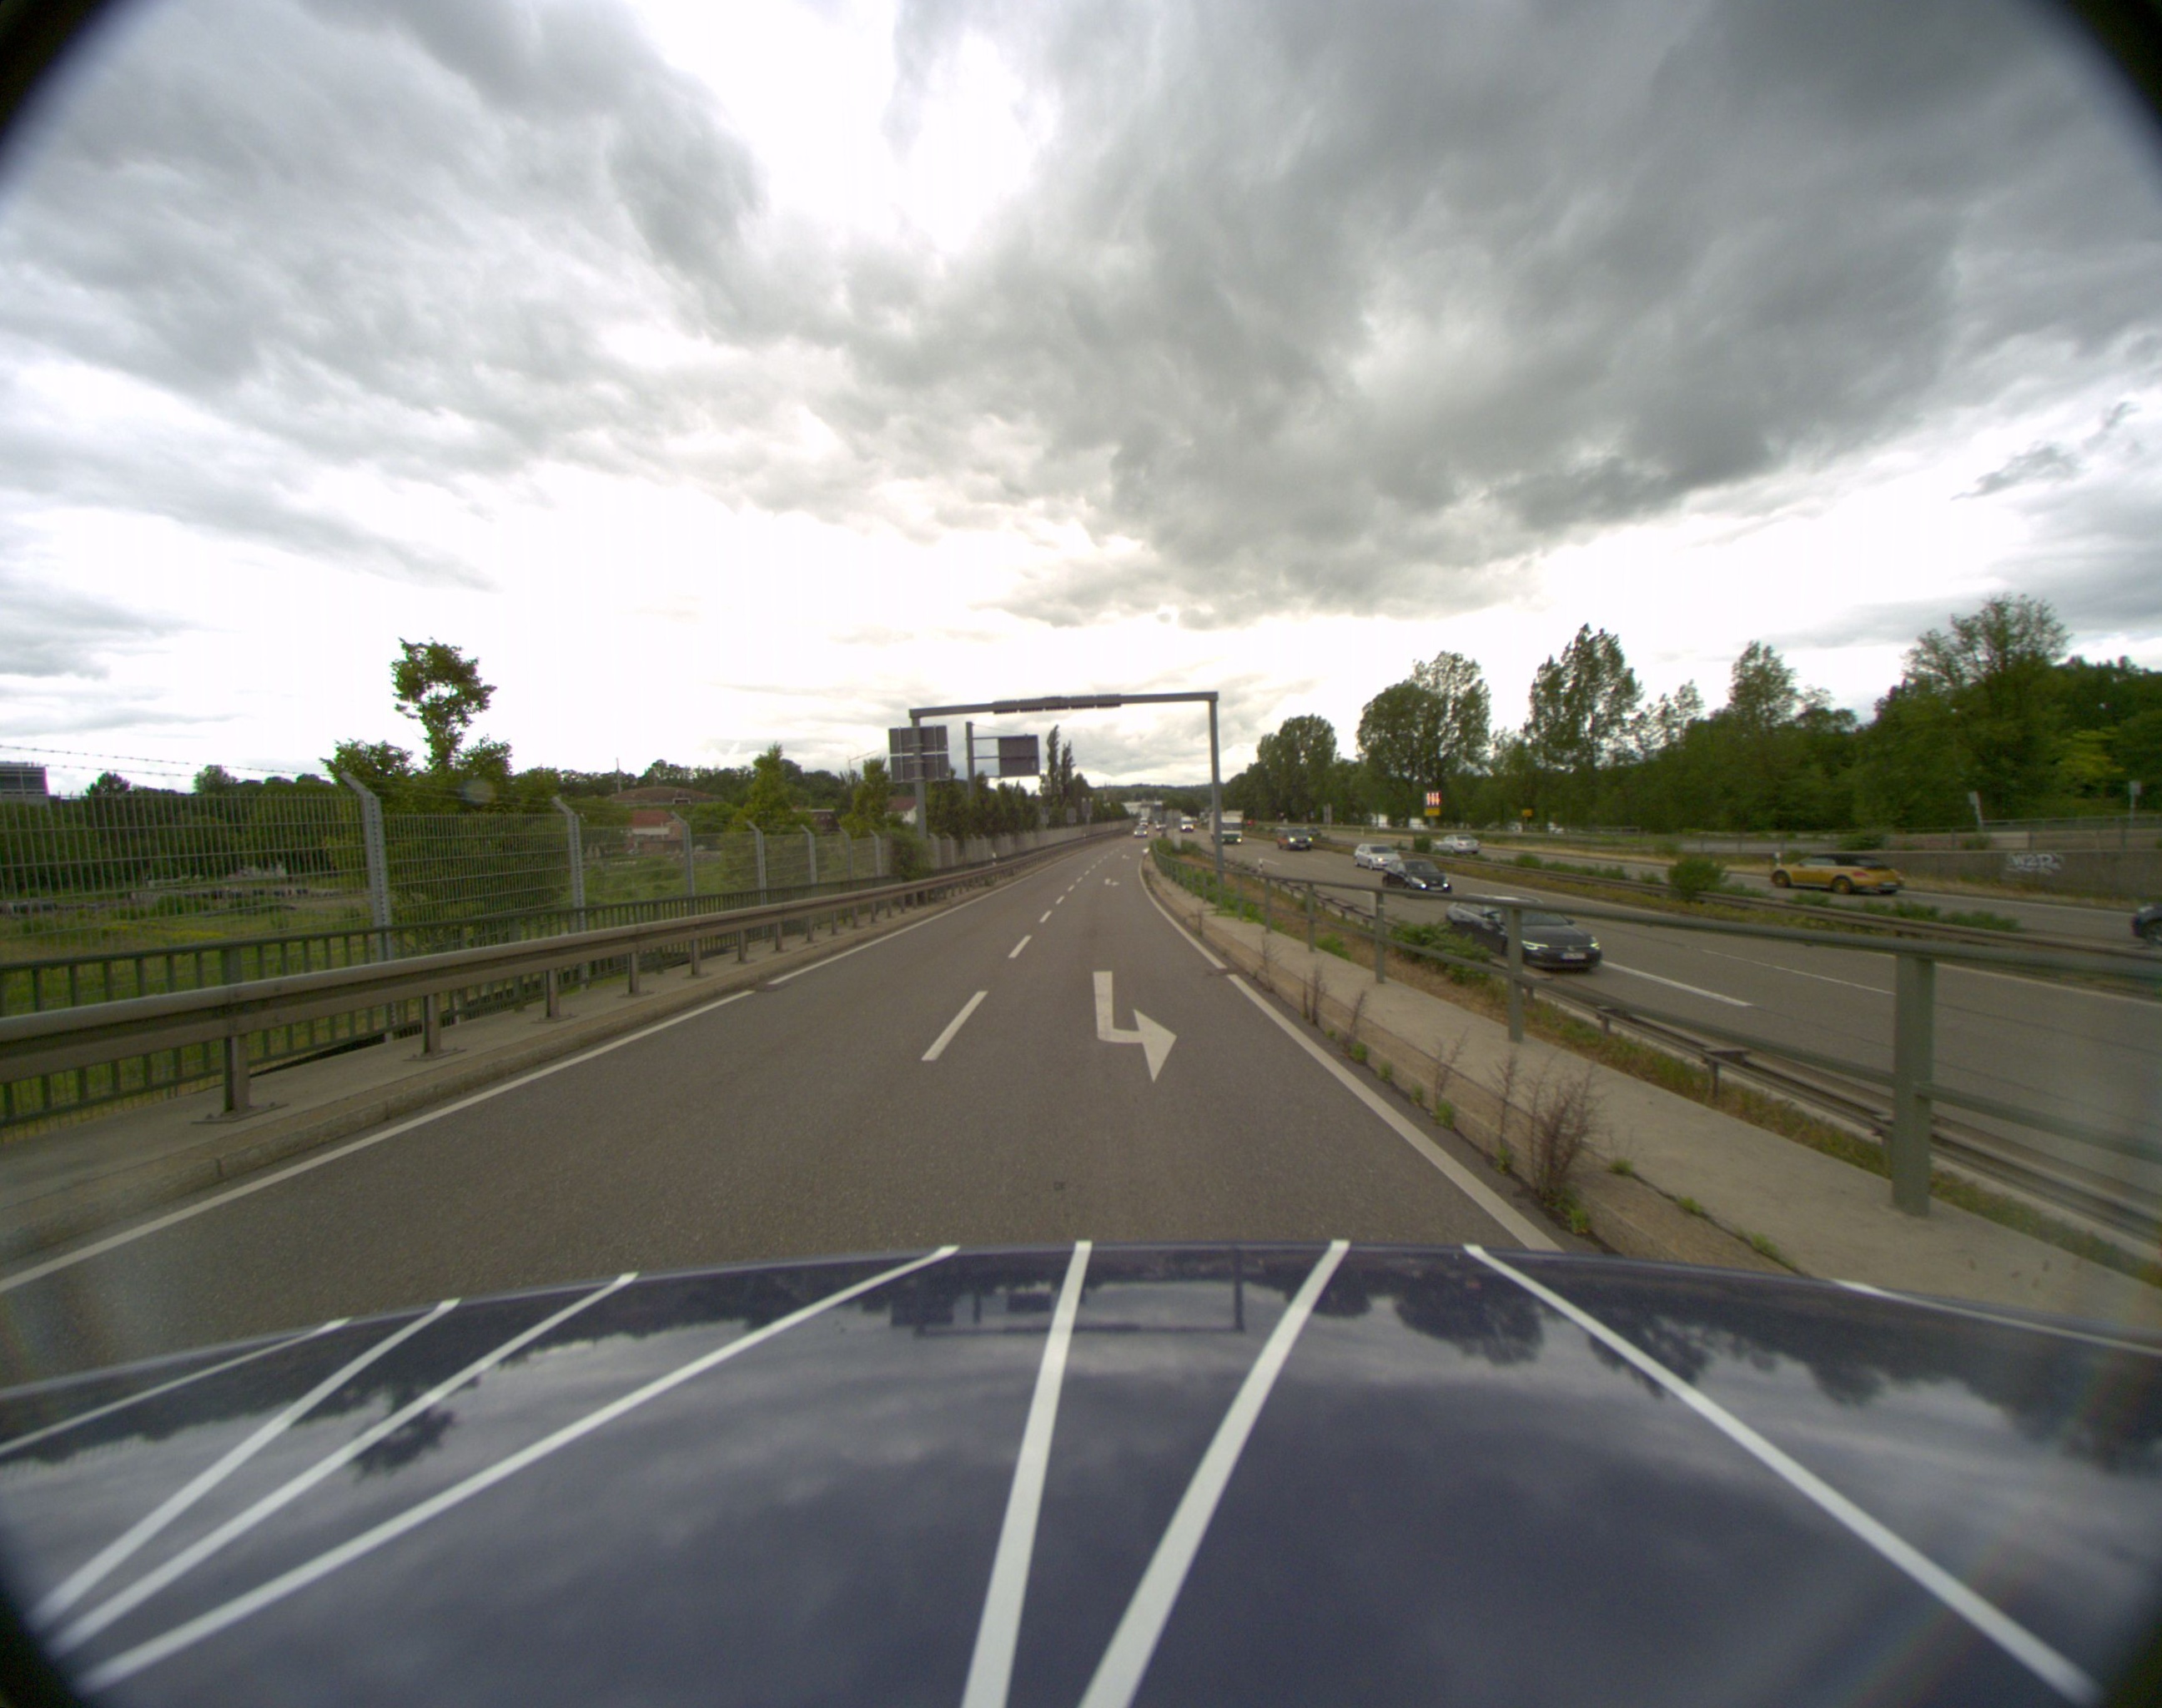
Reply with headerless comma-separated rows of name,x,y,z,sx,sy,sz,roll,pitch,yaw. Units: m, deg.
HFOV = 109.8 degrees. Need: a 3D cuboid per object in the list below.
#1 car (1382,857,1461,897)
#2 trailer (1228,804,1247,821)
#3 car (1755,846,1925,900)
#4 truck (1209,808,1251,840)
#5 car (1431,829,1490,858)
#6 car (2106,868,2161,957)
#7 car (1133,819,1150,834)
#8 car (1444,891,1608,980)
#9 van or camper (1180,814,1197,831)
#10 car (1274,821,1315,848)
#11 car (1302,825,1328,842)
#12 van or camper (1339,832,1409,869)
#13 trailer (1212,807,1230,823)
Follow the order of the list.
car,14.126,0.924,31.729,1.728,1.320,3.646,-1,3,2
trailer,39.753,-10.576,193.602,2.796,3.928,13.508,-3,3,3
car,29.832,0.679,30.139,1.998,1.711,4.700,-1,4,0
truck,15.767,-3.238,80.864,3.039,3.142,7.563,-1,4,1
car,27.852,-0.822,56.002,1.998,1.684,4.698,-1,6,1
car,26.124,1.500,15.990,2.097,1.978,5.112,-1,4,1
car,8.384,-3.836,105.523,1.997,2.002,4.002,-1,1,9
car,10.388,1.813,18.157,1.939,1.492,4.305,0,2,9
van or camper,18.890,-5.568,133.380,2.210,2.590,6.325,-2,4,1
car,18.516,-1.741,66.206,2.099,2.003,5.335,-1,4,0
car,26.282,-2.320,85.425,1.998,1.718,3.999,-1,3,4
van or camper,17.810,-0.296,46.600,1.887,1.859,6.343,-3,4,0
trailer,43.784,-12.271,238.763,3.471,4.648,14.776,-2,3,3
